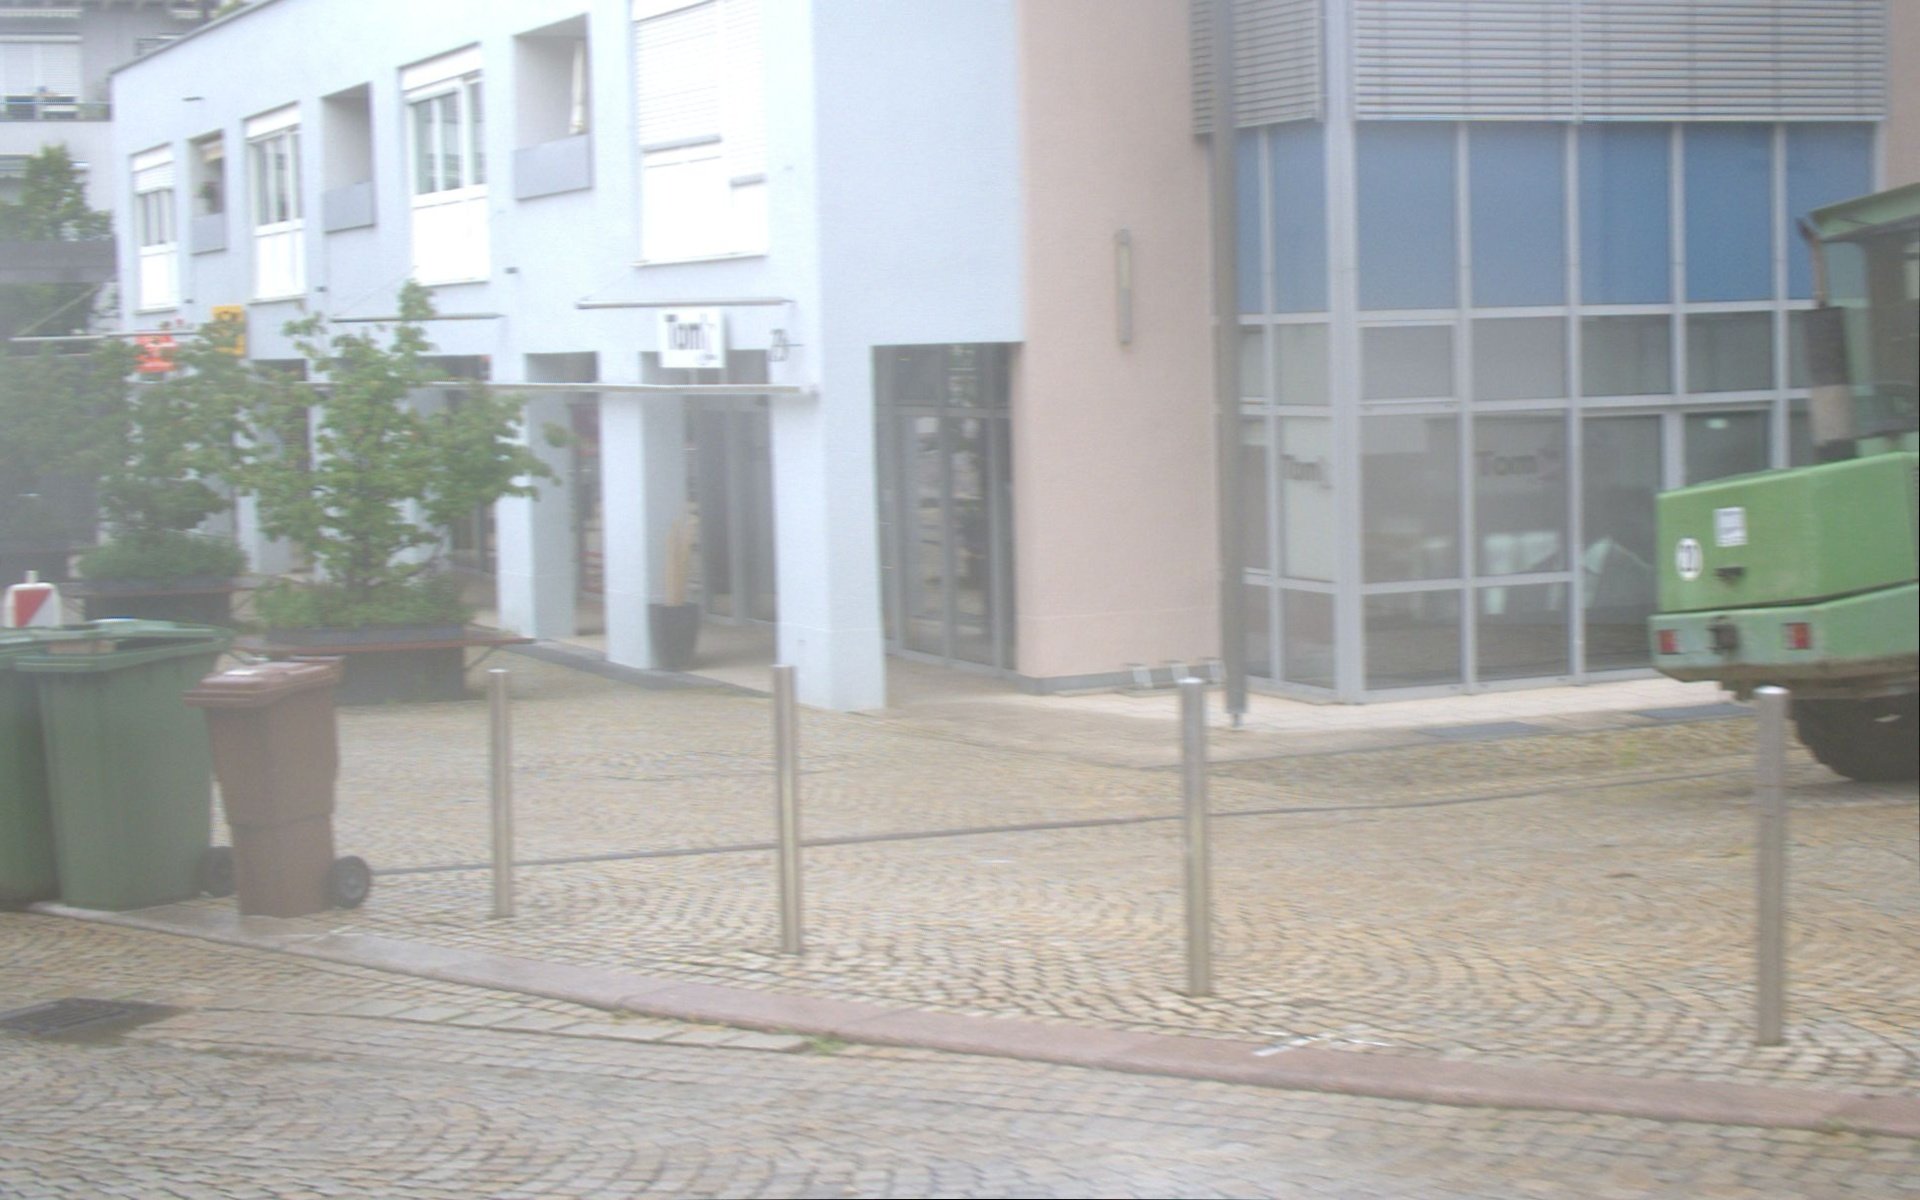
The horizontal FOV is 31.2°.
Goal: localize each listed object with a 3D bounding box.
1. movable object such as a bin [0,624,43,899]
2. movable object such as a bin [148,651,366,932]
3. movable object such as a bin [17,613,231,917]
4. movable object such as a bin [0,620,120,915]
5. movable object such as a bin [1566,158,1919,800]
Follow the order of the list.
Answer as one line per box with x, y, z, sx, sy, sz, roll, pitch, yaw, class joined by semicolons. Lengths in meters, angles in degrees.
-4.235;0.680;14.315;0.560;1.122;0.541;-5;3;-42;movable object such as a bin
-2.632;0.705;12.885;0.498;0.988;0.560;-1;3;39;movable object such as a bin
-3.265;0.628;13.422;0.560;1.122;0.550;-5;3;-42;movable object such as a bin
-3.783;0.657;13.765;0.560;1.122;0.550;-5;3;-42;movable object such as a bin
5.074;-0.592;15.054;4.276;2.545;1.912;-3;2;-11;movable object such as a bin
